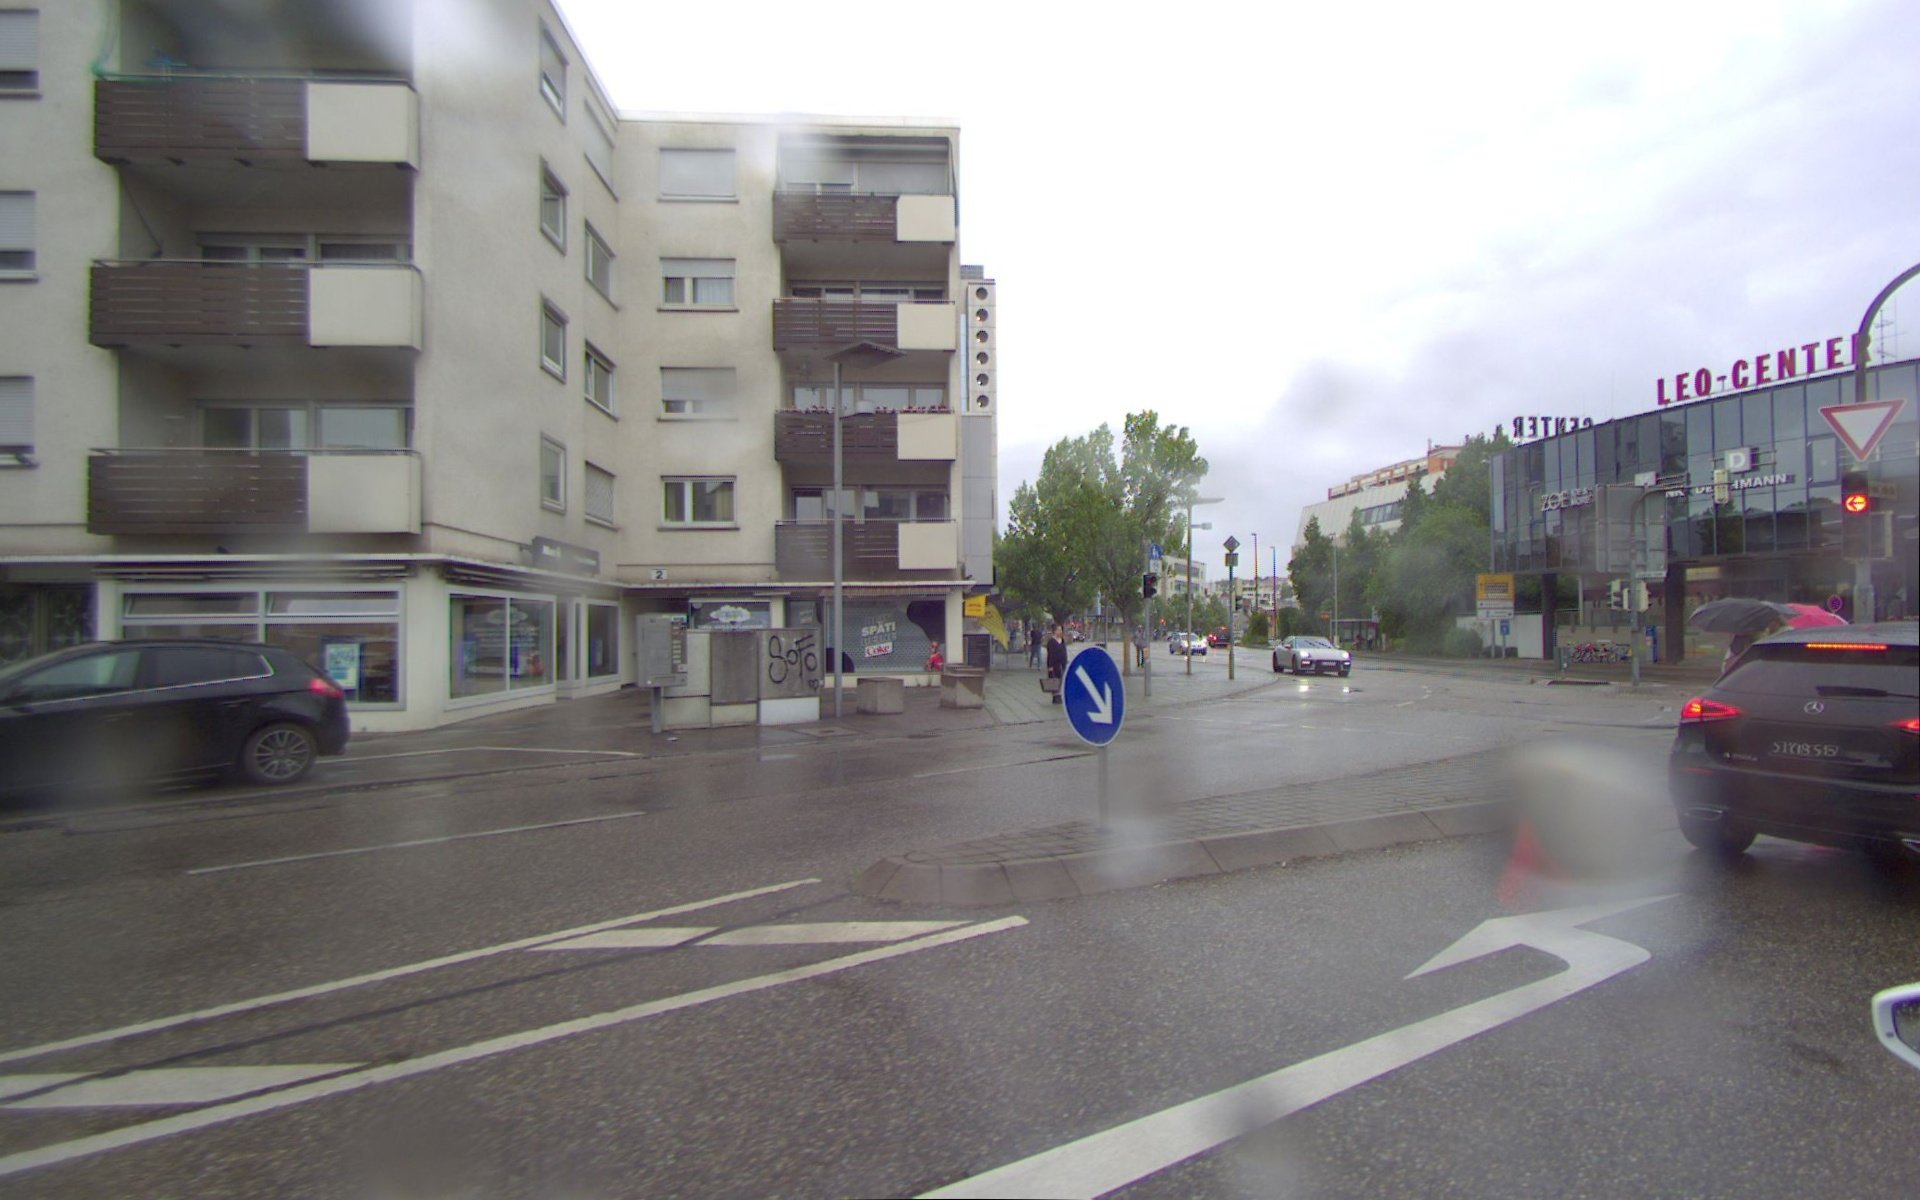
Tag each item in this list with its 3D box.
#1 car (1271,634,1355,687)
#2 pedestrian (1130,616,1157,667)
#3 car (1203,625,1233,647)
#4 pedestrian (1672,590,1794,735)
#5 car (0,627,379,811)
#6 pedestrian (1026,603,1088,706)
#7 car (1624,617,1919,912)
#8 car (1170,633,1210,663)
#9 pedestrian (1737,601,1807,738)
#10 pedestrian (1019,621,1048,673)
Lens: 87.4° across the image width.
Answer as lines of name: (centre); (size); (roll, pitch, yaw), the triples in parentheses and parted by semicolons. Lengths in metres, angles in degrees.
car: (13.271, 2.226, 38.063); (1.960, 1.532, 4.434); (2, 2, 6)
pedestrian: (7.778, 1.733, 42.588); (1.007, 2.041, 0.964); (2, 2, 13)
car: (25.210, 3.510, 98.212); (1.960, 2.040, 4.002); (0, -2, 2)
pedestrian: (9.505, 0.739, 12.390); (0.893, 1.682, 0.755); (3, 2, 16)
car: (-8.342, 1.051, 9.823); (1.914, 1.562, 4.248); (-1, -2, 43)
pedestrian: (1.976, 1.105, 20.529); (0.909, 2.040, 0.746); (2, 2, -26)
car: (6.226, 0.838, 6.249); (3.948, 1.438, 1.798); (1, -2, -27)
car: (15.925, 3.295, 69.607); (1.960, 2.040, 4.002); (0, -2, 2)
pedestrian: (10.415, 0.863, 12.898); (0.602, 1.682, 0.669); (4, 3, 38)
pedestrian: (3.064, 1.948, 41.671); (1.007, 2.041, 0.964); (2, 2, 13)
